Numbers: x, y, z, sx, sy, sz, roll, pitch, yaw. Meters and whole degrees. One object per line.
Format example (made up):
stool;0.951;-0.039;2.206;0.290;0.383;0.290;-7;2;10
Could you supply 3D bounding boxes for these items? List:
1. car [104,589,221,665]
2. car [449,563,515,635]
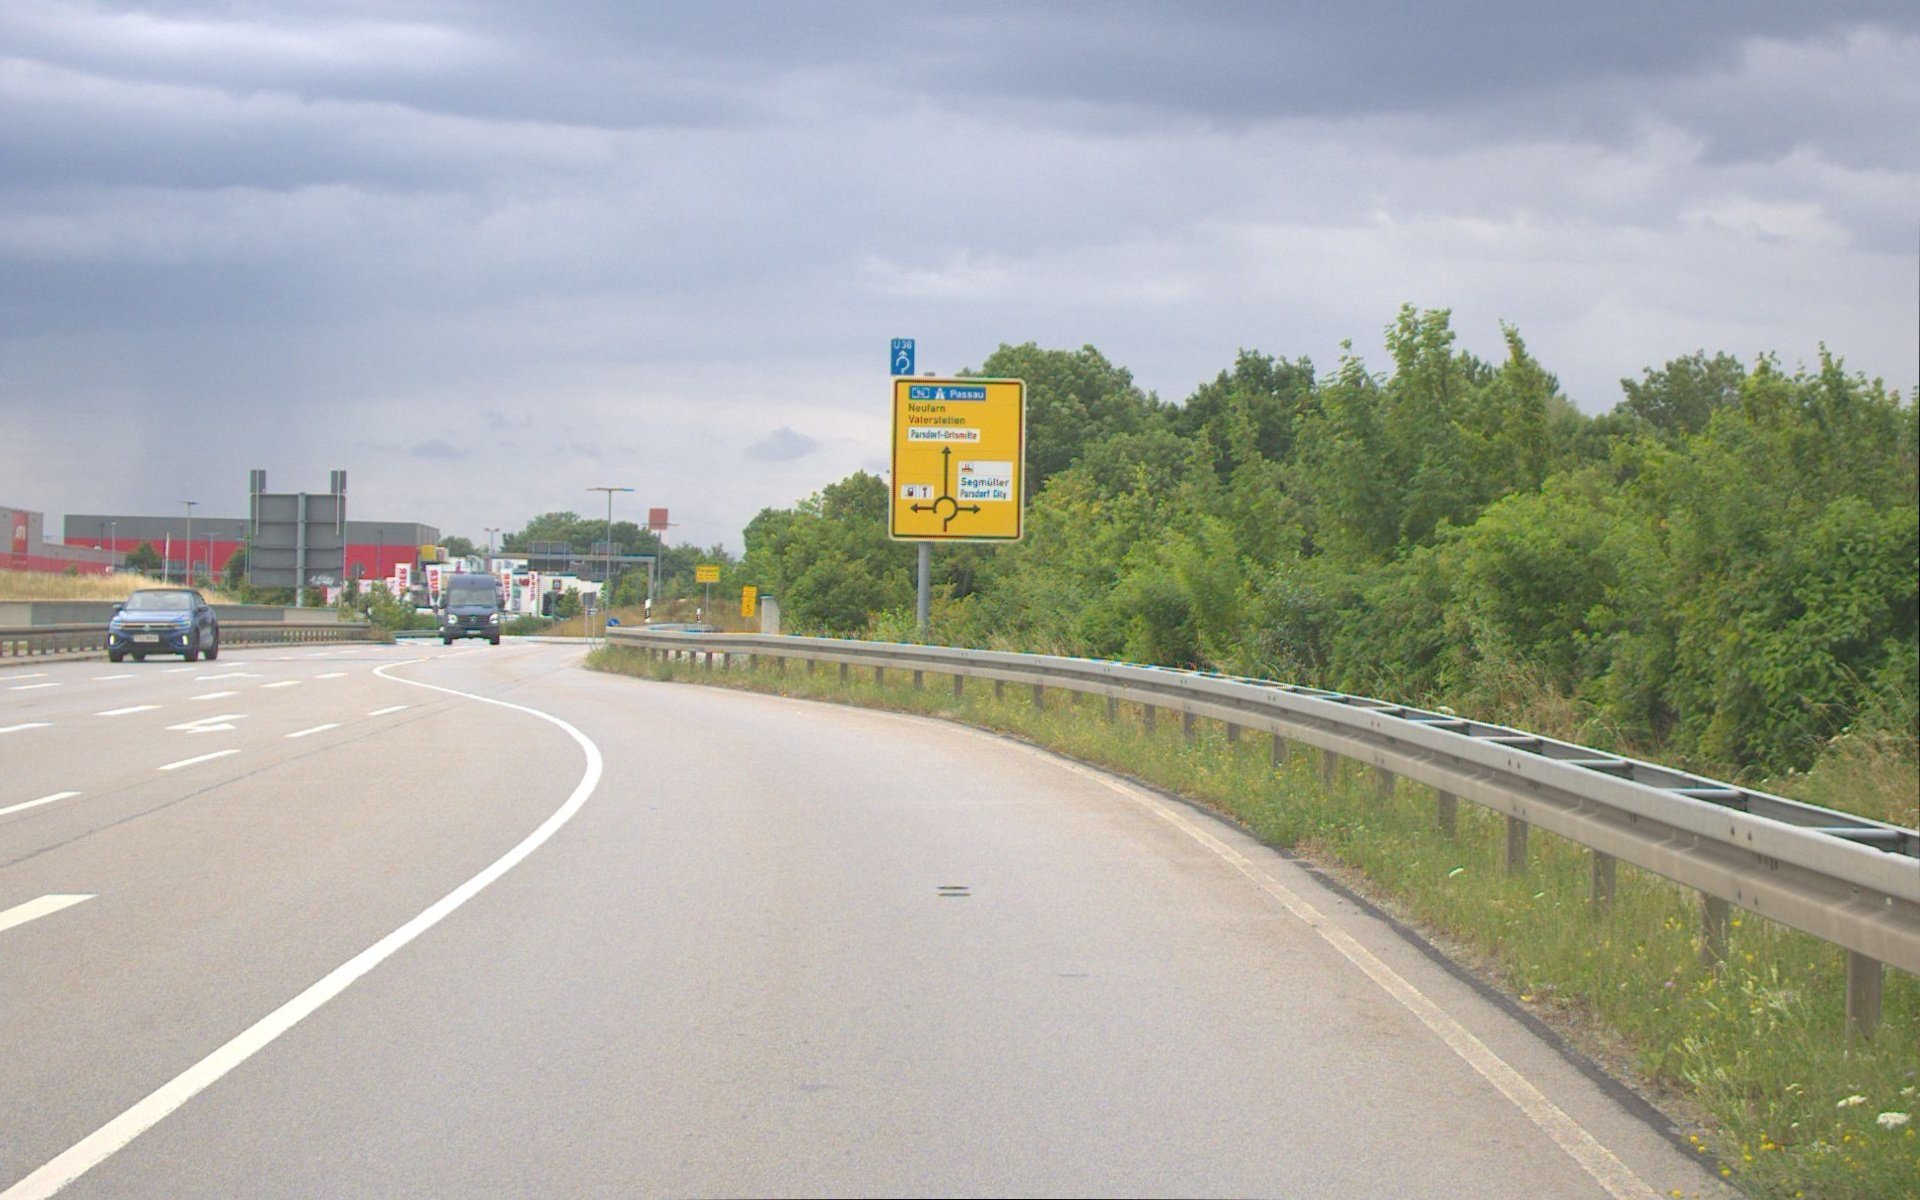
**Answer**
car;-16.844;0.557;72.783;1.797;1.545;4.000;1;0;-4
car;-17.711;-0.015;127.592;1.993;2.583;6.005;1;0;-4
